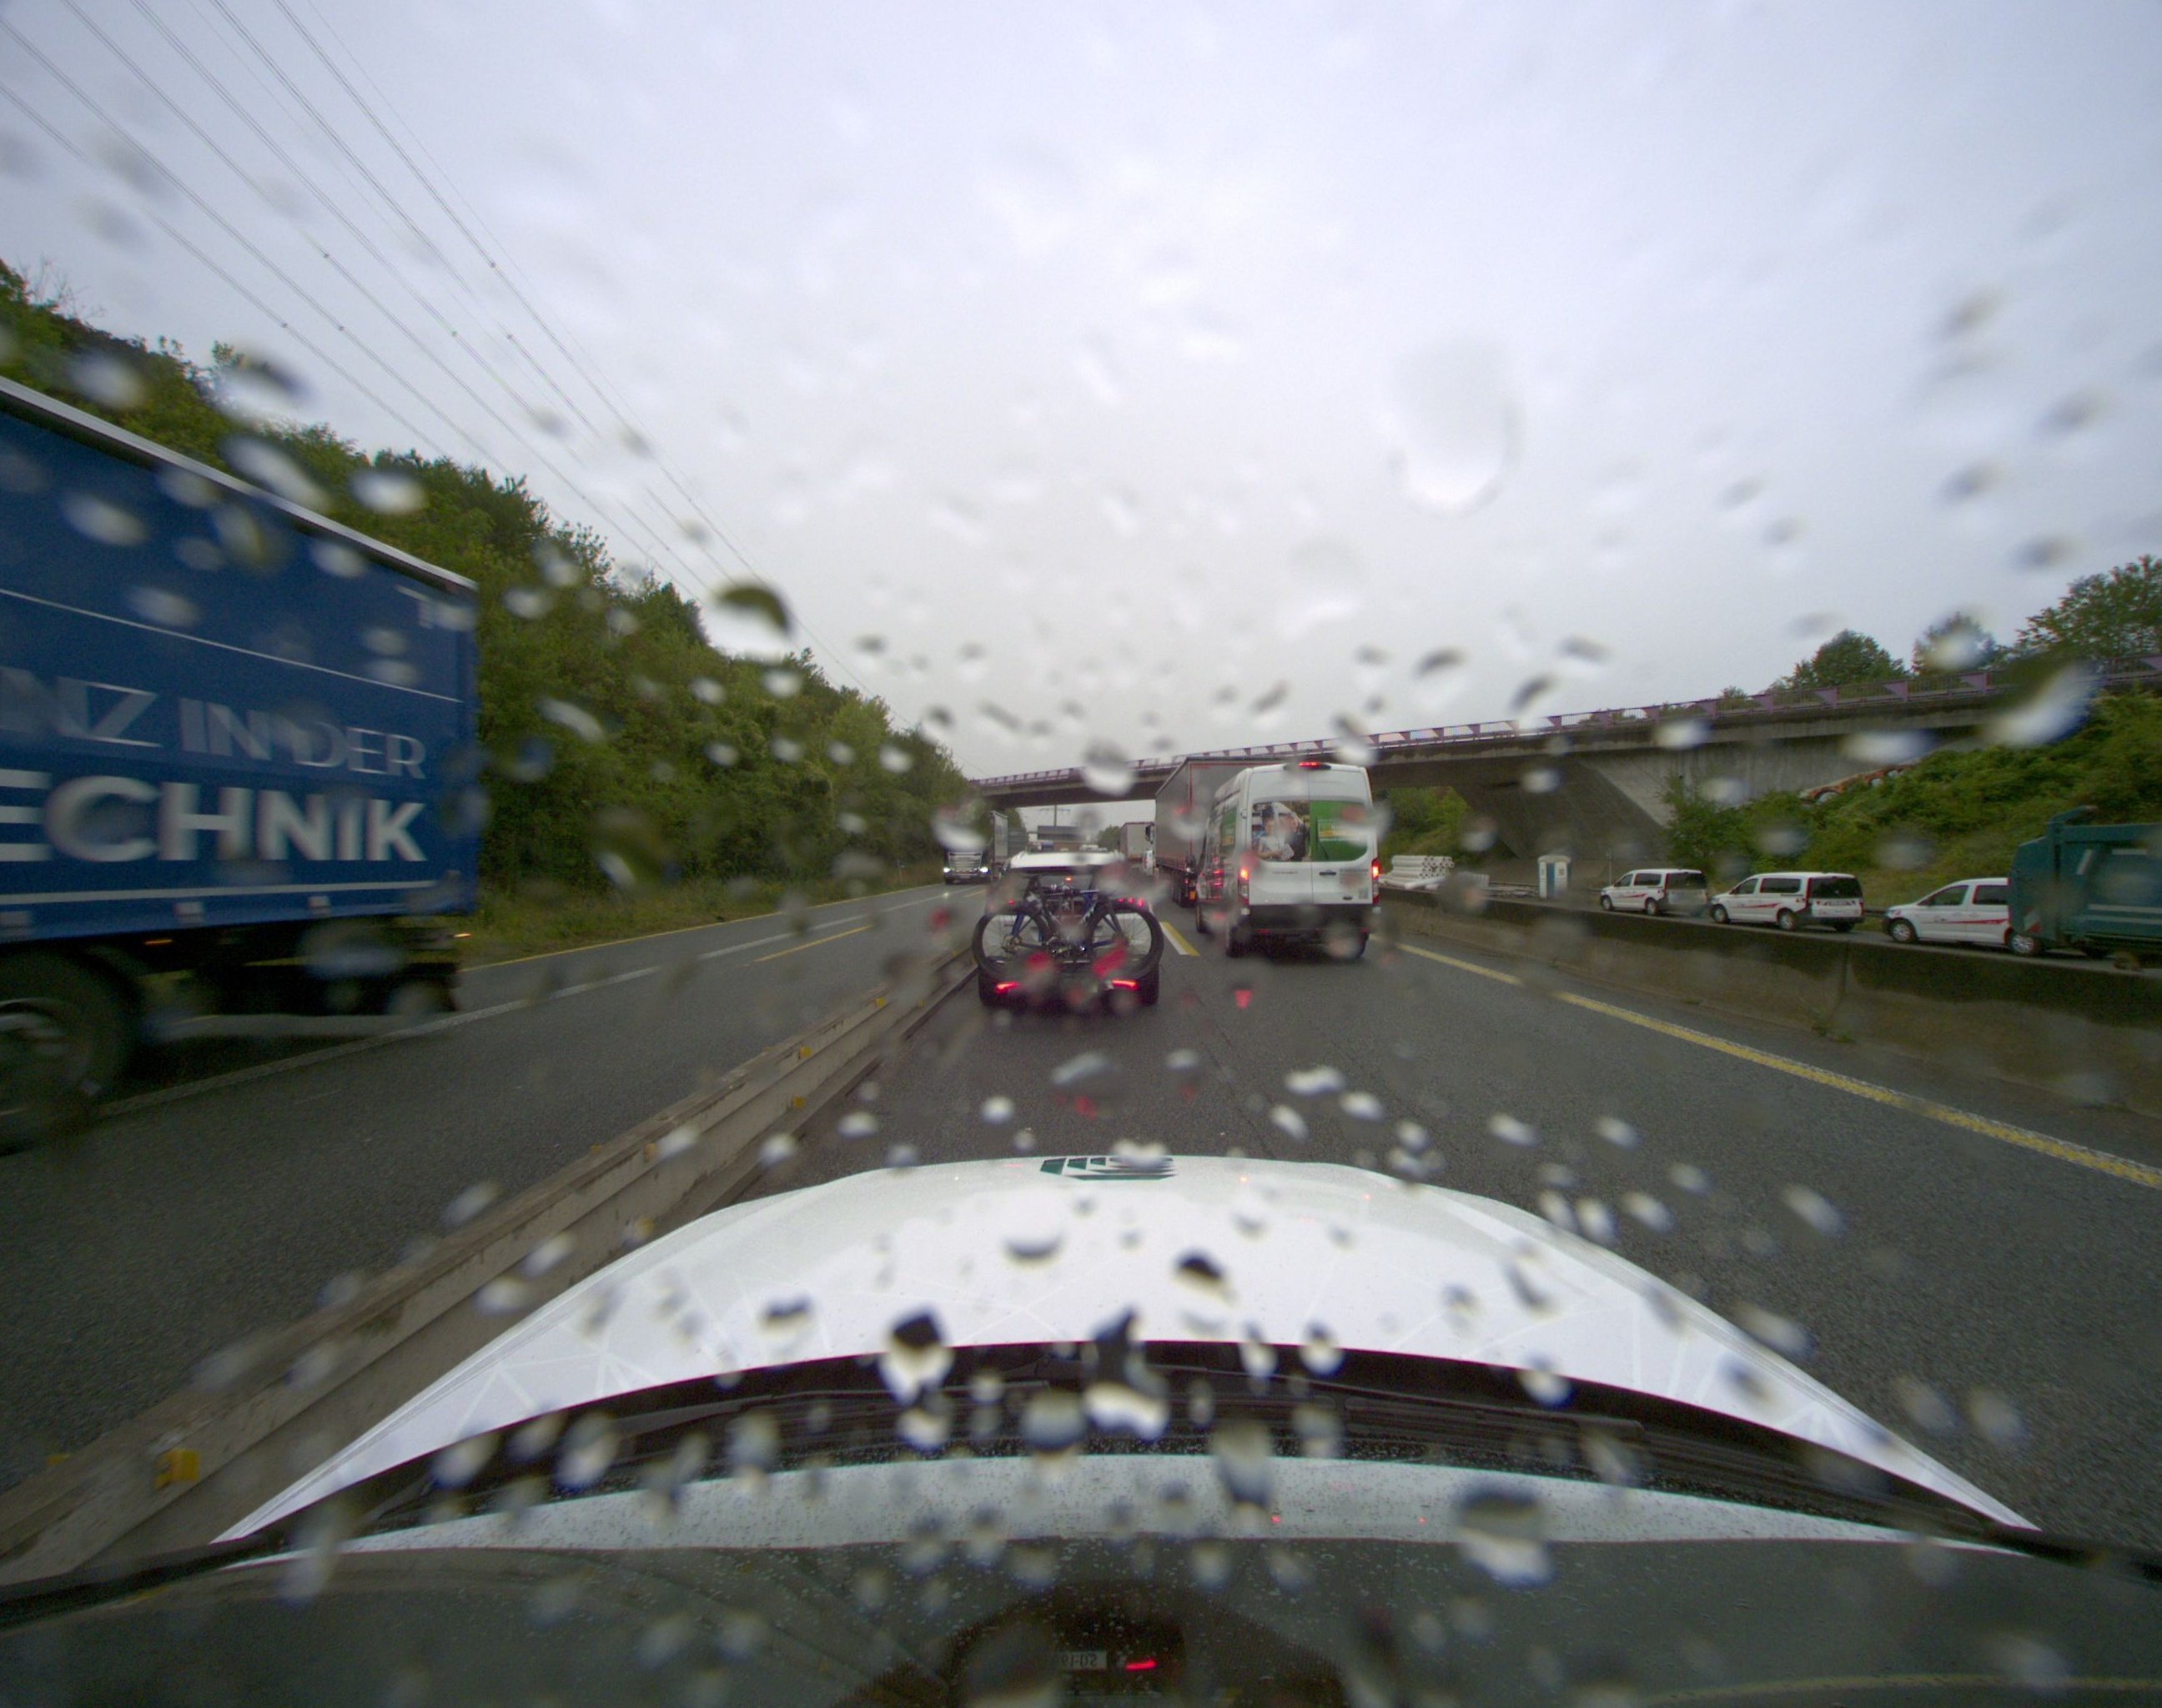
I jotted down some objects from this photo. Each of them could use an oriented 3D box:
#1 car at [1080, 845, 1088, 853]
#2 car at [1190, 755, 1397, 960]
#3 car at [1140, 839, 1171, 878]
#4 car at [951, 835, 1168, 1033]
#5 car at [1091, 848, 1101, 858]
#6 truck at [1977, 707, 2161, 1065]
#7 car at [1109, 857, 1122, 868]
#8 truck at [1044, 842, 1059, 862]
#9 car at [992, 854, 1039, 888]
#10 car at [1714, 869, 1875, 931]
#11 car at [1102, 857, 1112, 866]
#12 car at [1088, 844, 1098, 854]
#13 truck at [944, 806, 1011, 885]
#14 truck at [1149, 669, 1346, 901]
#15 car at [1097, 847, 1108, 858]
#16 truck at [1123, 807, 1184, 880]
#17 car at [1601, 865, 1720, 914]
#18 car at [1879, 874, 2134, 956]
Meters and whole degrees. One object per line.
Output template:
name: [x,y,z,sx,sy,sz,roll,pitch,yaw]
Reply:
car: [0.784,-1.389,219.027,1.986,2.126,4.529,0,-1,2]
car: [3.201,0.077,13.756,2.136,2.676,6.121,0,-1,3]
car: [4.352,0.254,47.909,1.663,2.180,4.538,0,-1,3]
car: [-0.045,0.690,9.098,1.802,1.637,4.639,0,-1,3]
car: [3.132,-0.211,173.779,1.986,2.014,4.002,0,-1,2]
truck: [10.605,0.247,4.030,2.511,3.132,9.122,0,-1,2]
car: [4.554,1.108,106.679,1.632,1.497,3.668,0,-1,2]
truck: [-6.132,-0.340,169.067,2.455,4.123,10.090,0,-1,1]
car: [-2.972,0.764,37.829,1.932,1.494,3.998,0,-1,-1]
car: [22.502,1.394,25.936,1.721,1.745,4.129,0,-1,4]
car: [4.248,1.232,133.011,1.632,1.497,3.668,0,-1,2]
car: [2.716,-1.186,186.563,2.230,2.307,4.574,0,-1,2]
truck: [-5.852,-0.424,47.826,2.455,4.123,10.090,0,-1,1]
truck: [4.912,-1.619,30.172,3.964,5.673,20.387,0,0,2]
car: [4.070,-0.351,153.373,1.986,2.014,4.001,0,-1,2]
truck: [6.273,-0.708,73.866,4.723,5.673,20.393,0,0,3]
car: [22.777,1.343,32.228,1.840,1.809,4.158,0,-1,2]
car: [22.403,1.404,20.011,1.721,1.725,4.127,0,-1,3]
